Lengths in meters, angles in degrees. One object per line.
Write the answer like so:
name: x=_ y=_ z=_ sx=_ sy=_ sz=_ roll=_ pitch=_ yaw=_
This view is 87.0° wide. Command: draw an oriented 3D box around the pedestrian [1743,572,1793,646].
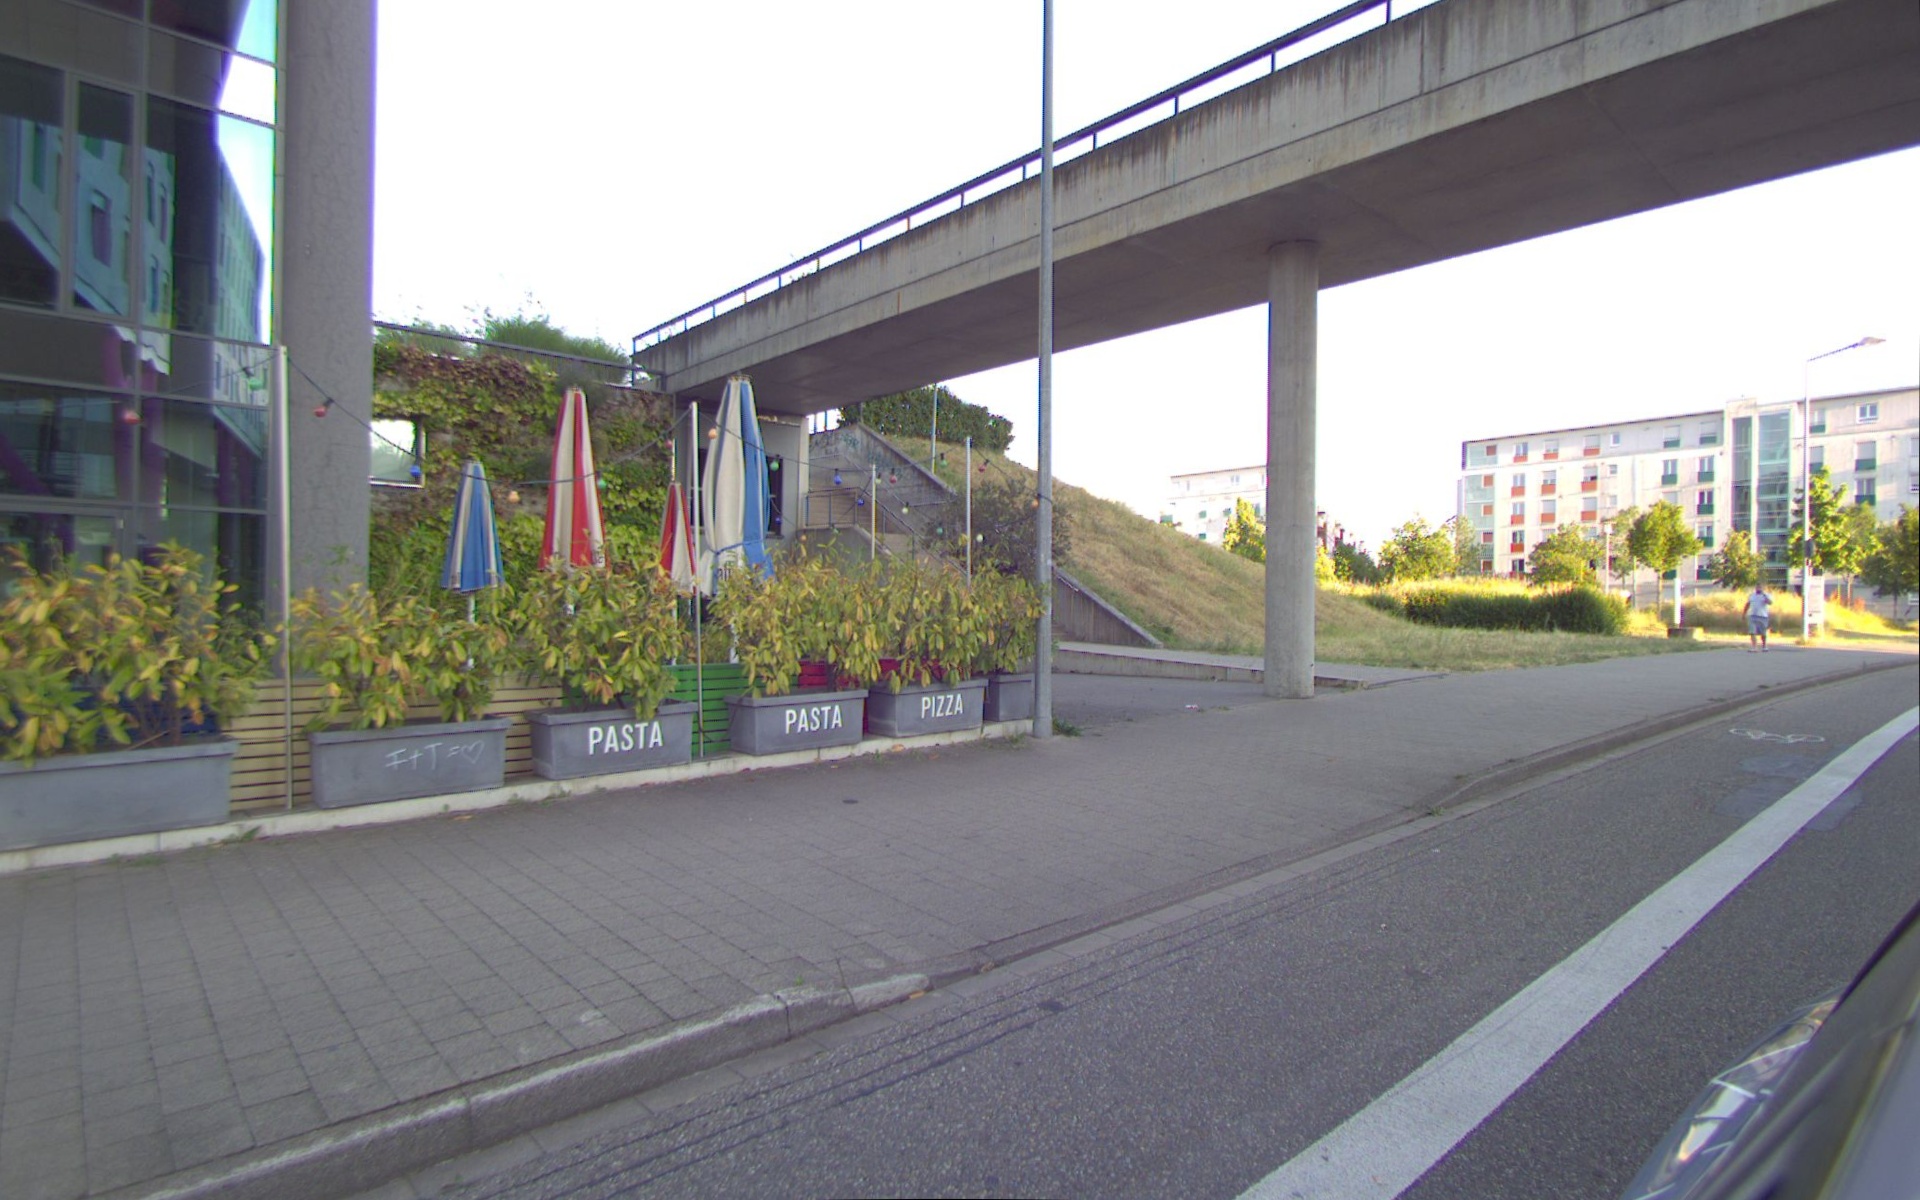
pedestrian: x=19.839 y=0.205 z=24.841 sx=0.890 sy=1.745 sz=0.737 roll=1 pitch=2 yaw=-40

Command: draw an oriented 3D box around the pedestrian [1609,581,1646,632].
pedestrian: x=22.034 y=0.214 z=33.413 sx=0.844 sy=1.650 sz=0.737 roll=1 pitch=2 yaw=-40
